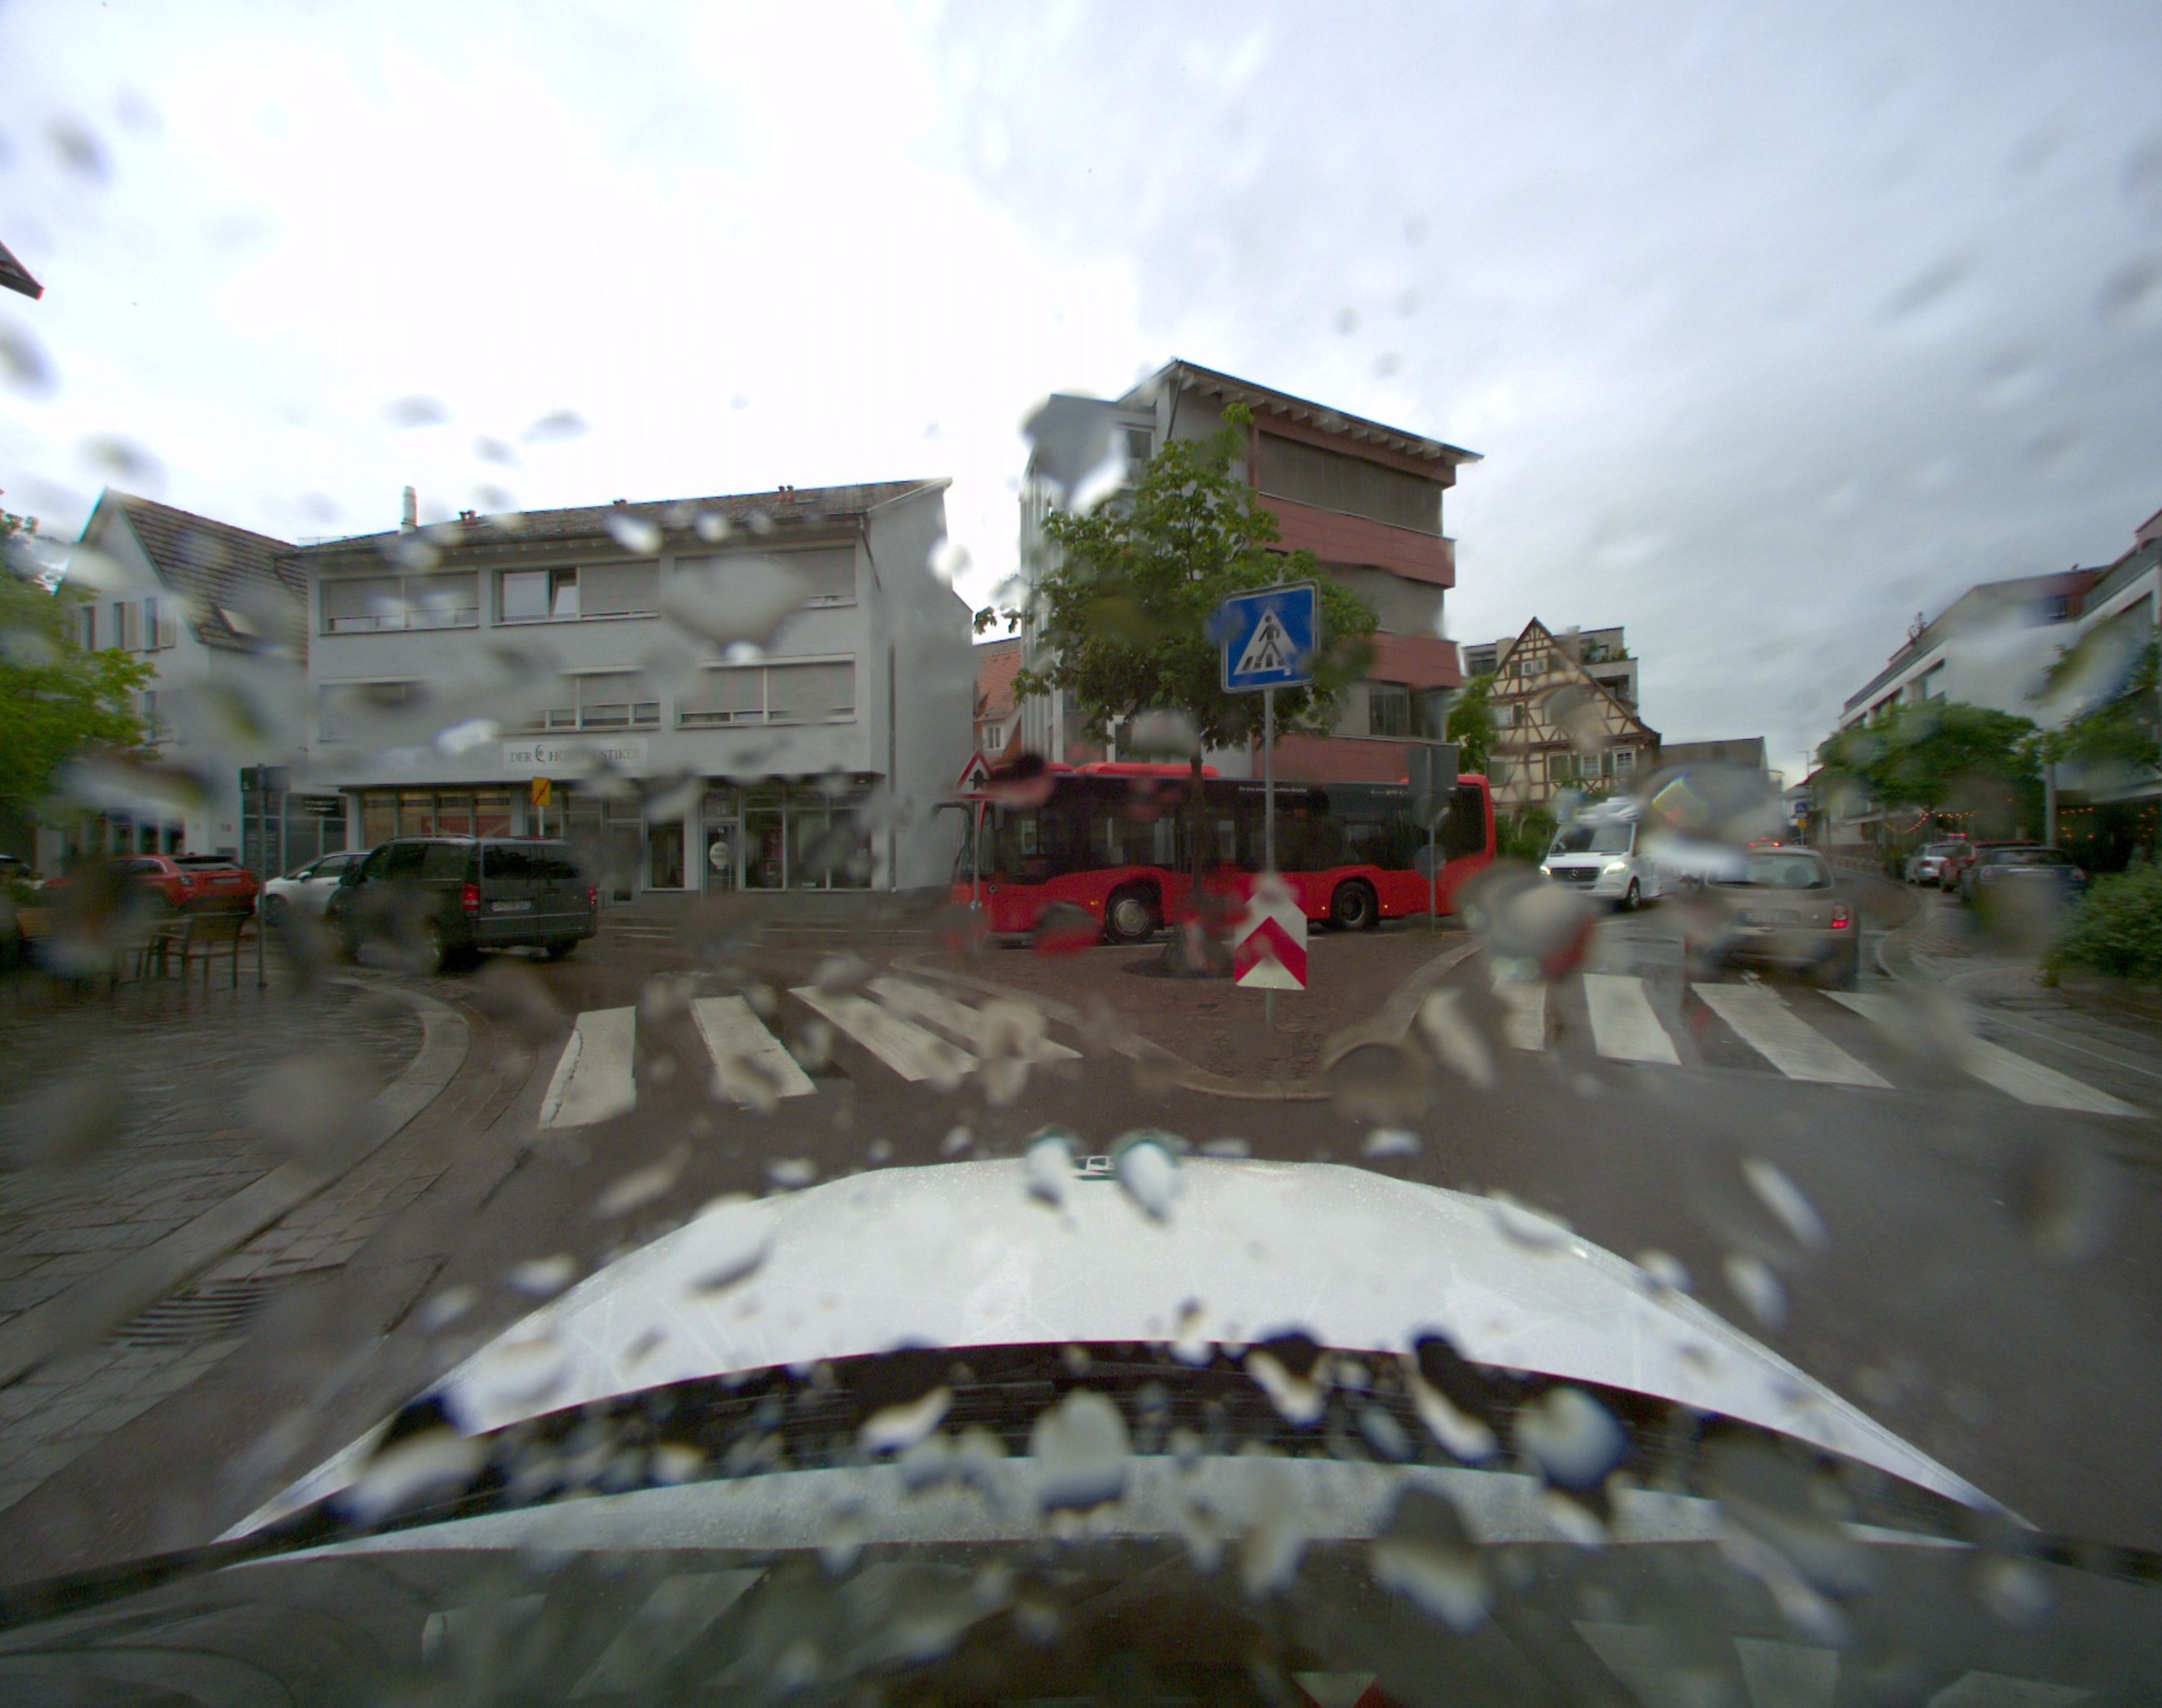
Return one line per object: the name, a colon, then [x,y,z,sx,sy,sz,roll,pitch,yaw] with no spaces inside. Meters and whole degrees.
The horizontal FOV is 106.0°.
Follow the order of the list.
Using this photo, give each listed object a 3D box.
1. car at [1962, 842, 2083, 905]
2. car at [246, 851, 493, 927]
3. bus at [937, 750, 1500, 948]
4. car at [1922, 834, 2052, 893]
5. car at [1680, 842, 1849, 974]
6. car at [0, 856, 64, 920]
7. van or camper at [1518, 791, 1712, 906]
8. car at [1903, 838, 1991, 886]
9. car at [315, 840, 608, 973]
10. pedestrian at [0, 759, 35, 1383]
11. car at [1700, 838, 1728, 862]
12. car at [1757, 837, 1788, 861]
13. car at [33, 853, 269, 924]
car: [22.166,0.429,19.281,1.522,1.362,3.393,-1,-1,43]
car: [-15.964,0.744,18.395,4.194,1.612,1.695,0,1,4]
bus: [2.767,-0.131,15.725,10.604,3.089,2.804,-1,-2,-19]
car: [25.863,0.243,23.396,1.608,1.501,4.026,-4,-2,36]
car: [9.085,0.595,10.927,1.507,1.471,3.362,-1,0,39]
car: [-27.238,0.832,19.502,3.829,1.496,1.803,-1,-1,6]
van or camper: [14.220,-0.158,21.463,6.786,2.585,2.417,-1,0,-40]
car: [29.224,0.240,27.579,1.600,1.413,4.025,-5,-2,42]
car: [-9.866,0.691,12.908,4.666,1.780,1.965,0,1,29]
pedestrian: [-3.312,0.624,1.855,0.665,1.807,1.054,-1,-1,-19]
car: [48.628,-0.294,62.586,1.571,1.713,3.342,-1,-1,37]
car: [51.307,-0.338,60.500,1.658,1.713,3.341,-1,-1,39]
car: [-21.377,0.763,18.800,3.767,1.528,1.686,0,1,6]
